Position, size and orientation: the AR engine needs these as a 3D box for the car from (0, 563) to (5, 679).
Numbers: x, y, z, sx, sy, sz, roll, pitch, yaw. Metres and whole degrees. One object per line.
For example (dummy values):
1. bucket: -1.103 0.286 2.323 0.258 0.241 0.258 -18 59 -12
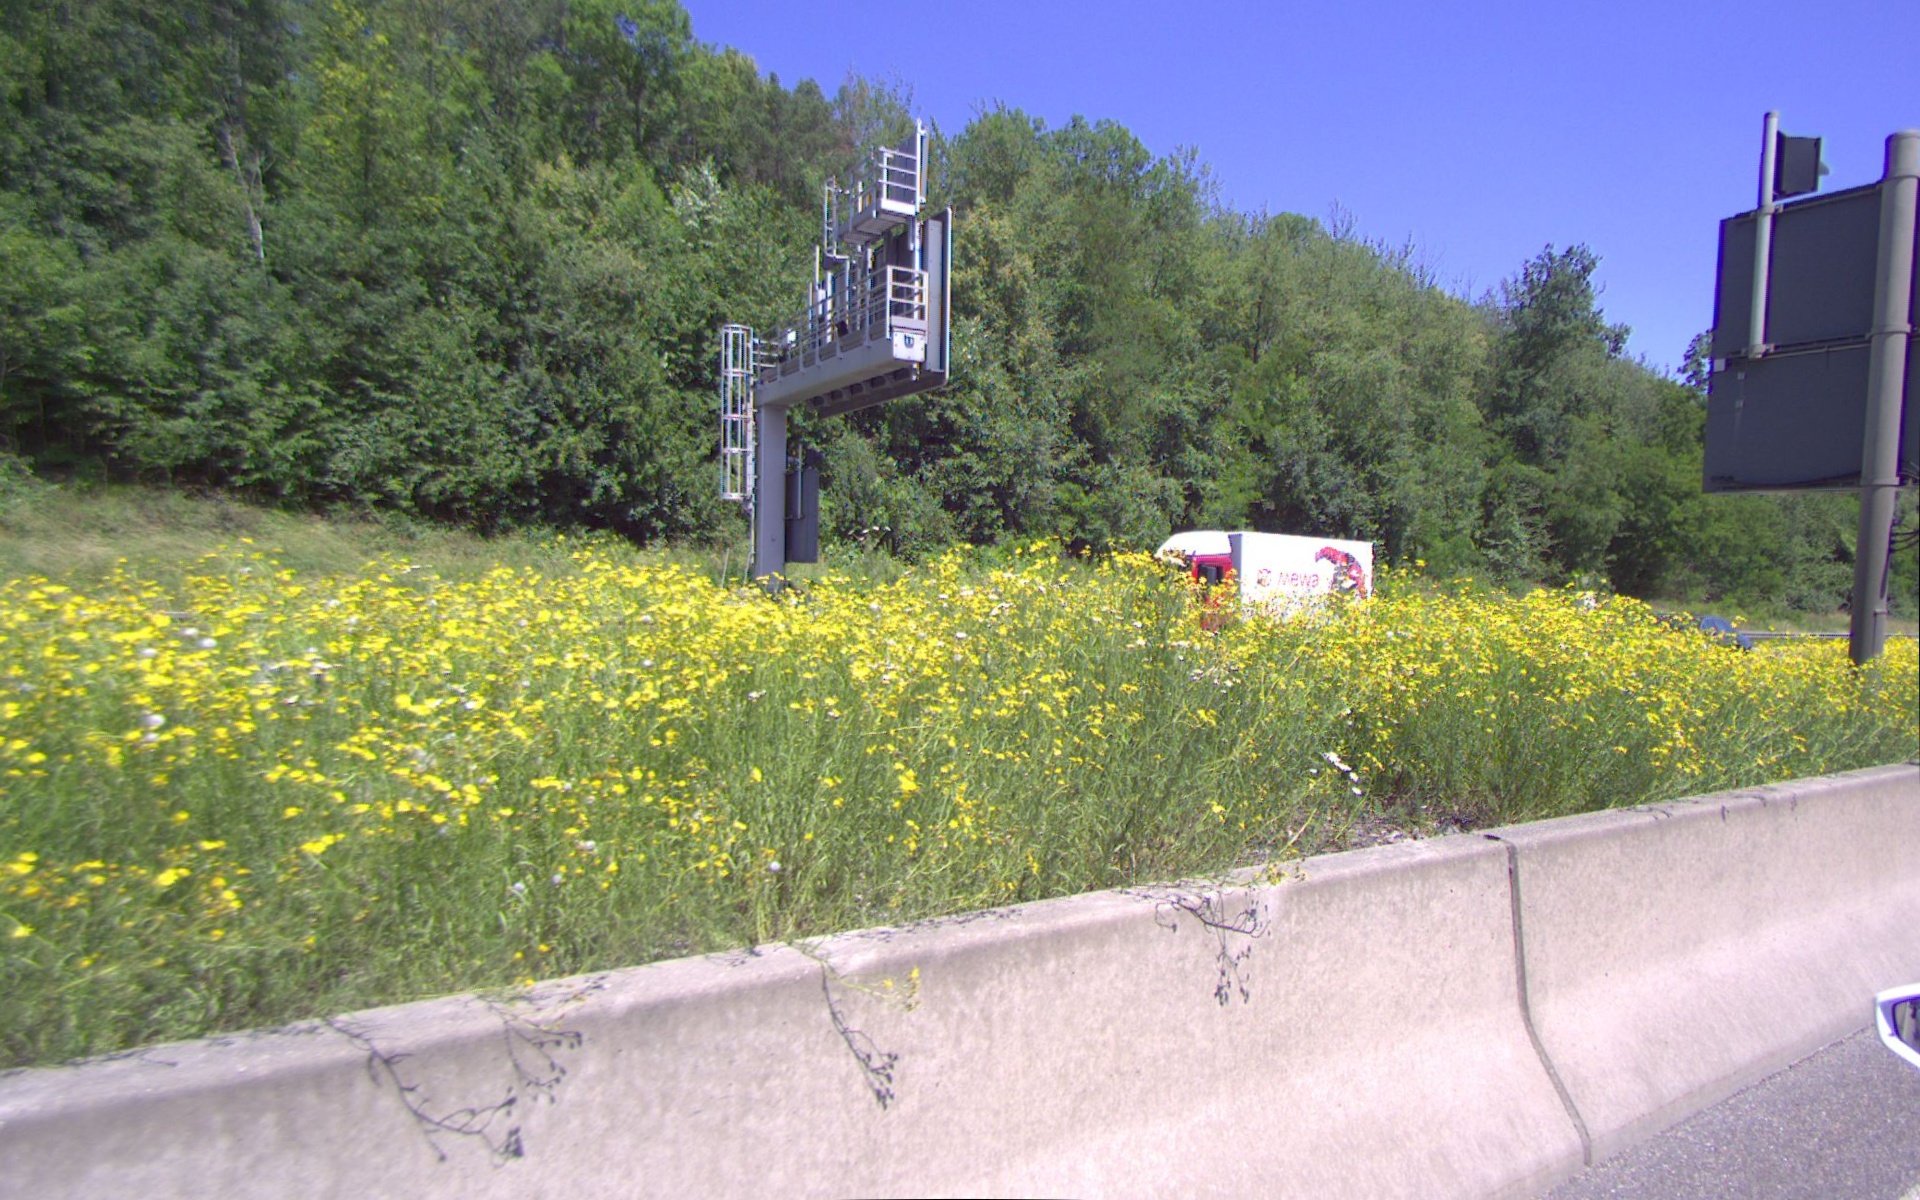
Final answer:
1. car: -13.242 0.242 11.122 3.500 1.473 1.779 1 0 -30

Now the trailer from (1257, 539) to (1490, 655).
1. trailer: 12.220 -0.021 29.432 7.375 3.045 2.393 1 0 -32

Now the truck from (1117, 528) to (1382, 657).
1. truck: 7.813 -0.123 26.697 7.375 3.045 2.393 1 0 -32

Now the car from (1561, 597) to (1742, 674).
1. car: 15.353 0.761 22.280 3.824 1.539 1.834 1 0 -30
